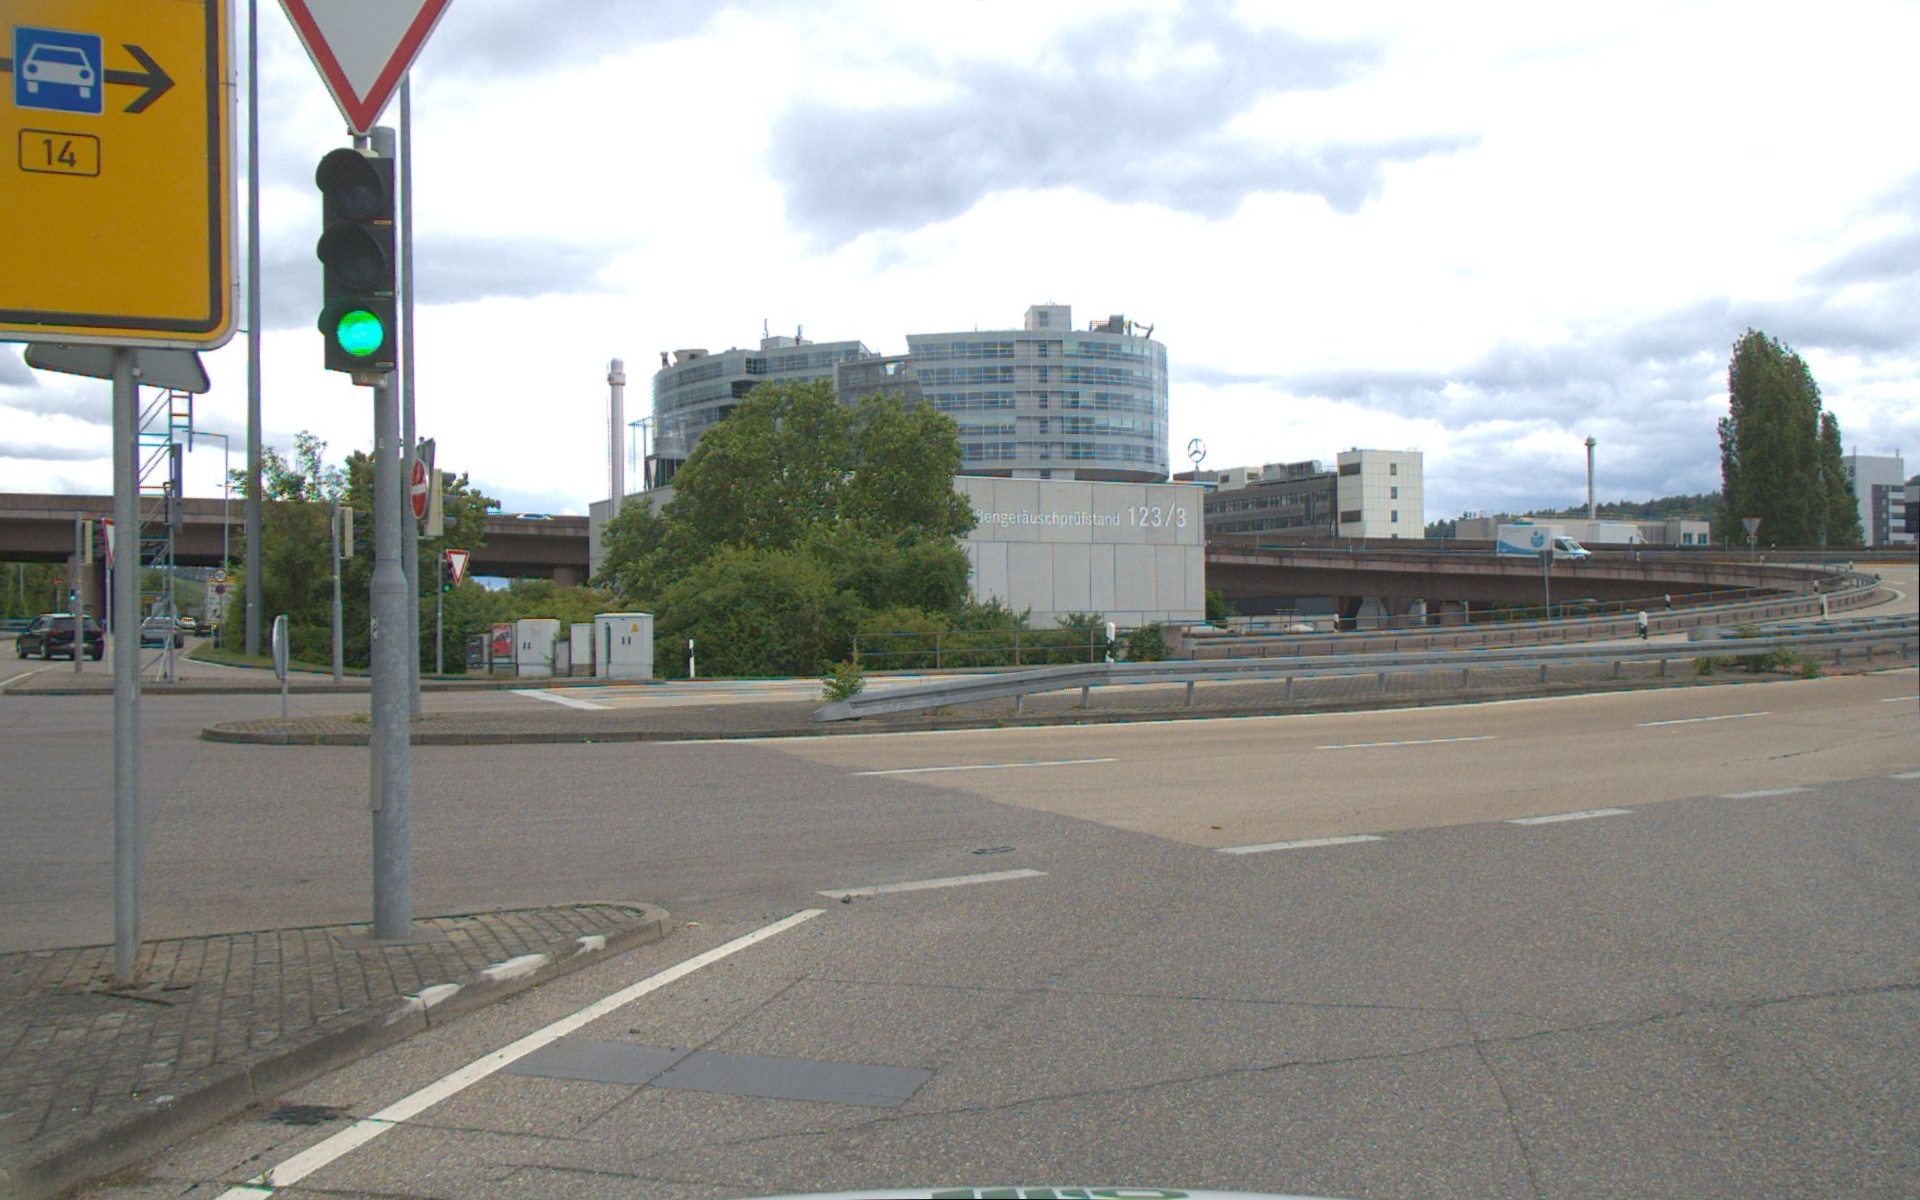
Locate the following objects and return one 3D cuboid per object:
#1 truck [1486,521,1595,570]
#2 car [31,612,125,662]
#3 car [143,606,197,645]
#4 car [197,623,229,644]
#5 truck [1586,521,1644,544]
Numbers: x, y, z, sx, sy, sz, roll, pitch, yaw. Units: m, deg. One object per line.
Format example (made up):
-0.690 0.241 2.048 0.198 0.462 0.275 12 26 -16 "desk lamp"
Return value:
42.181 -3.896 120.298 7.227 3.327 2.313 0 -1 45 "truck"
-28.291 1.169 52.996 1.896 1.446 3.937 4 -3 -39 "car"
-37.734 1.204 79.098 1.882 1.691 4.717 4 -1 -21 "car"
-56.931 2.587 126.120 1.965 1.490 4.083 1 -3 -21 "car"
69.042 -7.111 174.403 5.521 2.201 1.995 1 -1 -11 "truck"
